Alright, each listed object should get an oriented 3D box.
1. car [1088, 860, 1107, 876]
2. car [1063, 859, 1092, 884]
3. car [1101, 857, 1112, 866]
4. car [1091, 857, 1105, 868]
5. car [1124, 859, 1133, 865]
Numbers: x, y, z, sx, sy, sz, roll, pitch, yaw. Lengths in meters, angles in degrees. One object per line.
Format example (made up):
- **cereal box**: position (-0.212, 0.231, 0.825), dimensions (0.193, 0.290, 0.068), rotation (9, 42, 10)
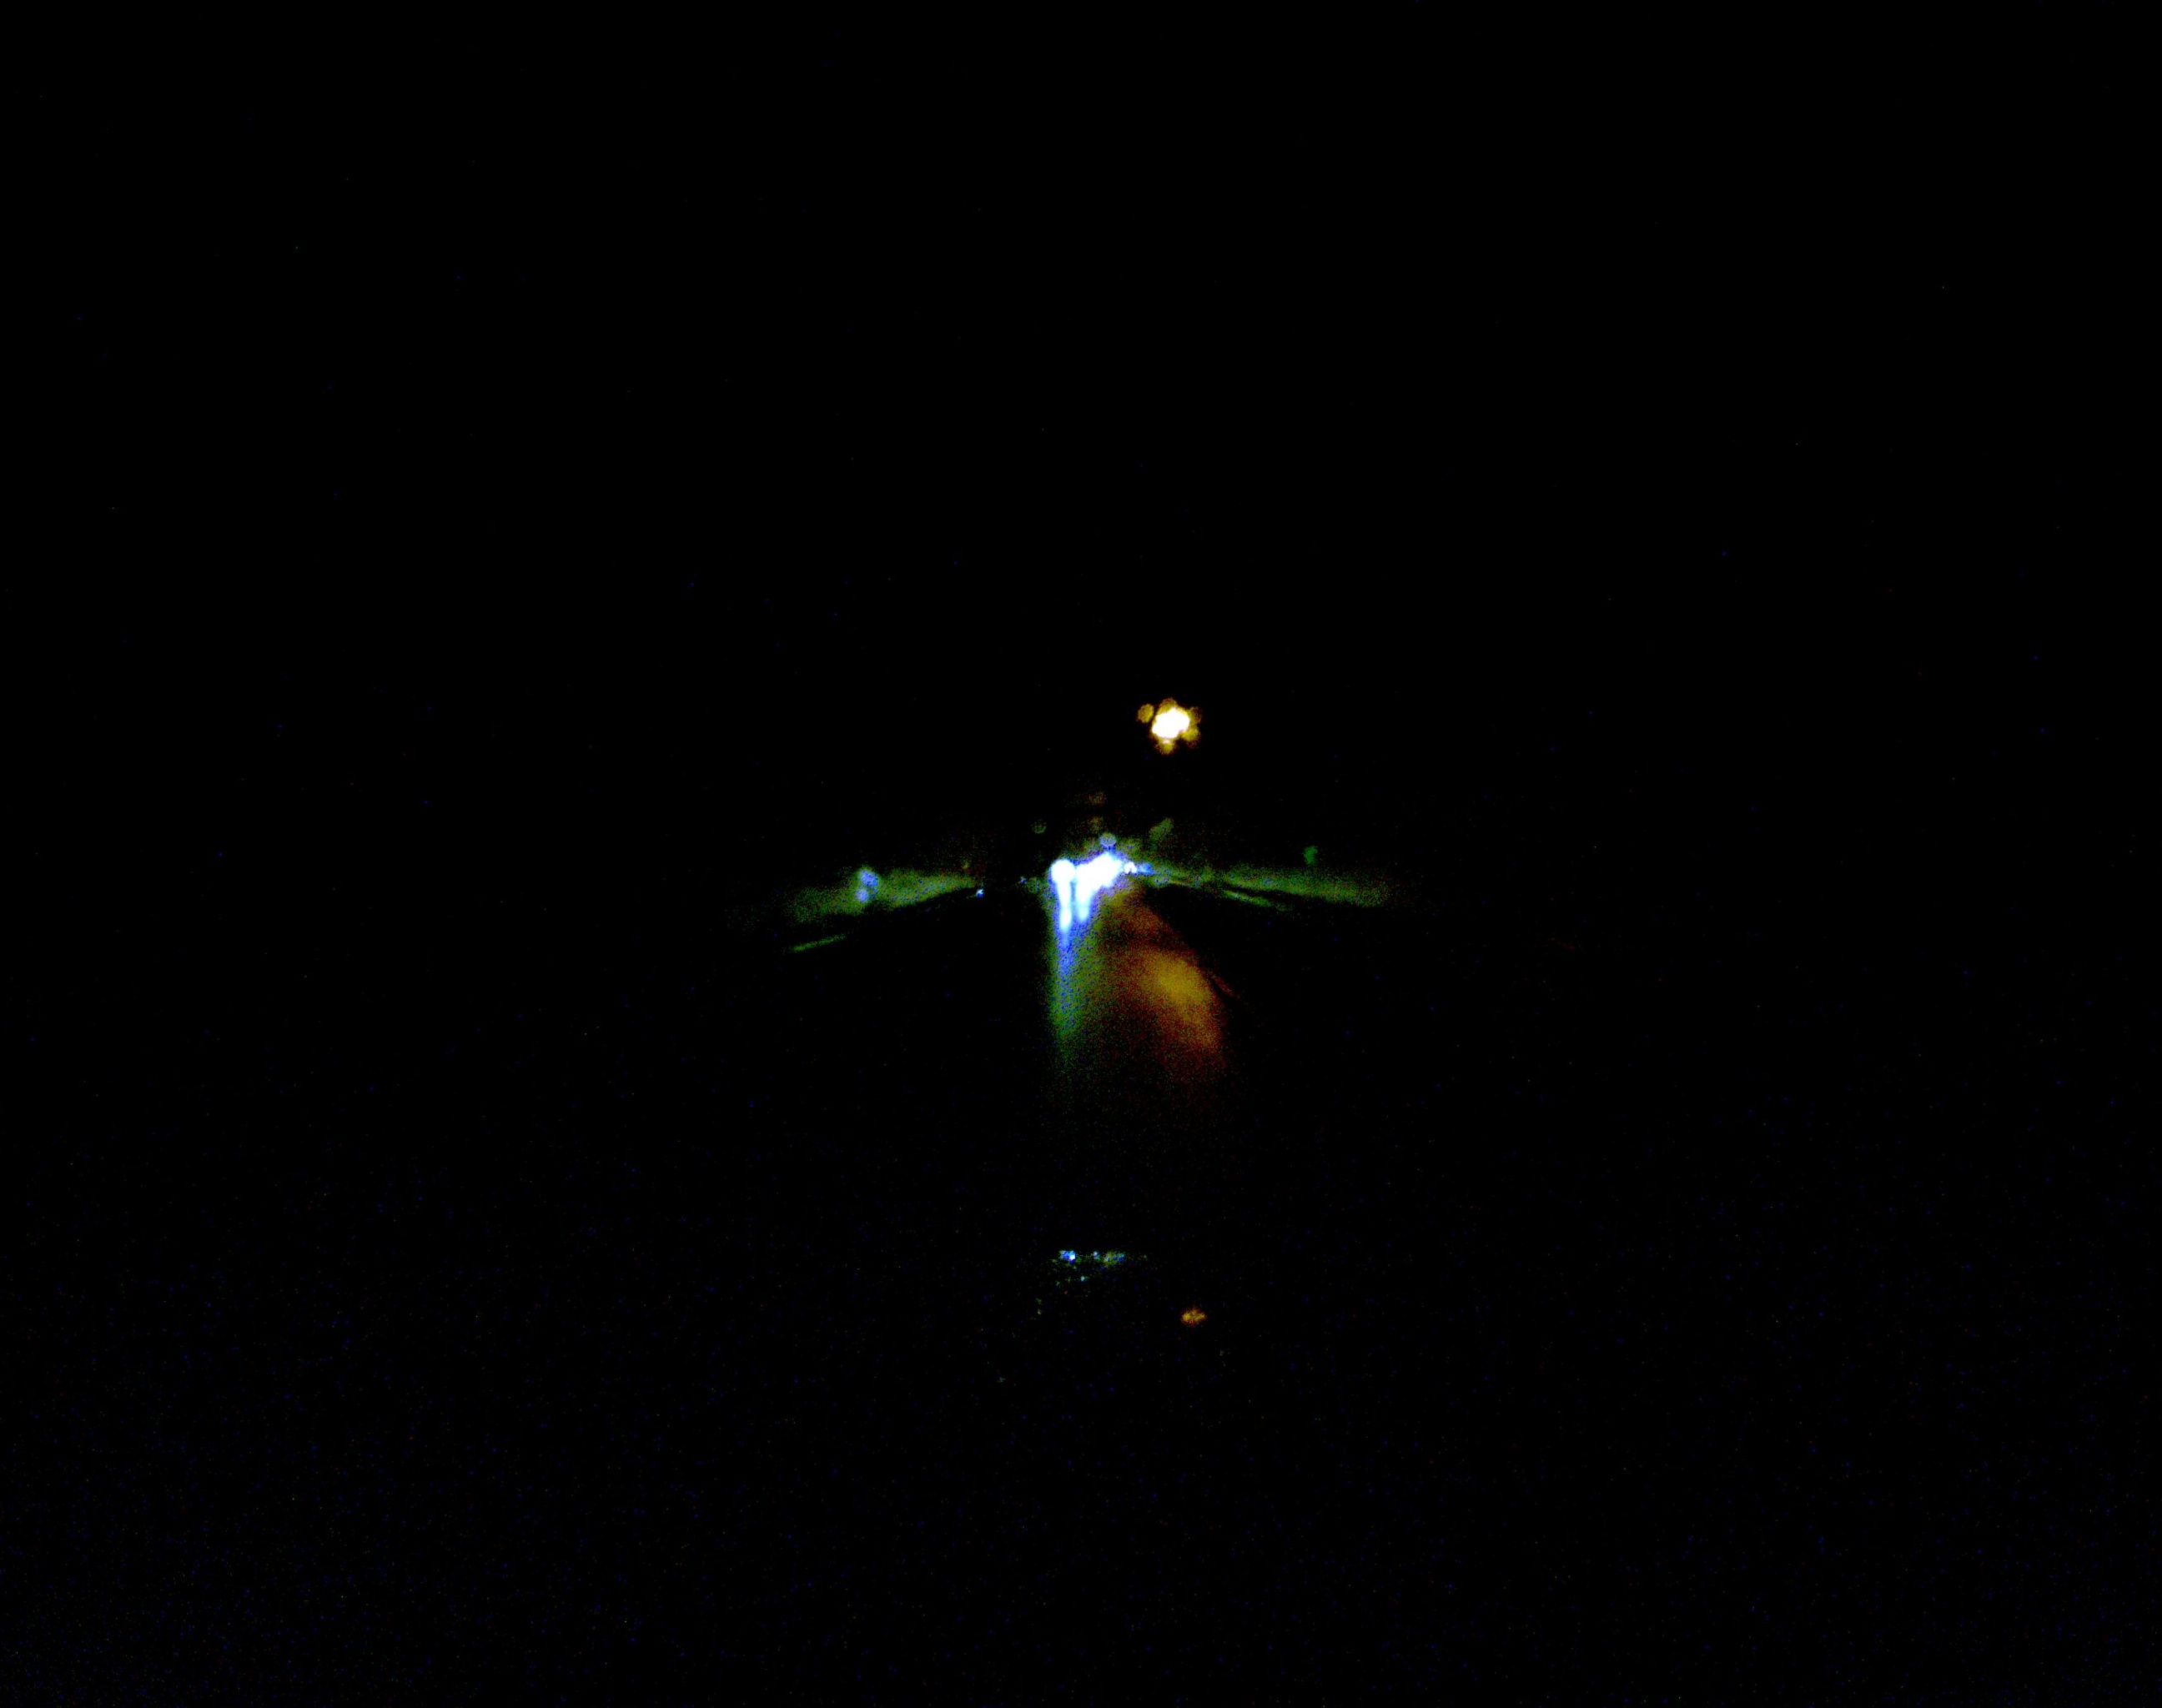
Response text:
- **car**: position (1.758, 1.485, 82.267), dimensions (1.998, 1.576, 4.000), rotation (-3, 0, 1)
- **car**: position (-0.266, 1.230, 55.419), dimensions (1.999, 1.576, 3.999), rotation (3, 1, 0)
- **car**: position (4.768, 1.442, 142.132), dimensions (1.998, 1.576, 4.000), rotation (-3, 1, 3)
- **car**: position (2.687, 1.392, 120.474), dimensions (1.998, 1.576, 4.000), rotation (-3, 0, 1)
- **car**: position (12.402, 2.070, 199.714), dimensions (1.998, 1.576, 4.000), rotation (-3, 0, 1)
